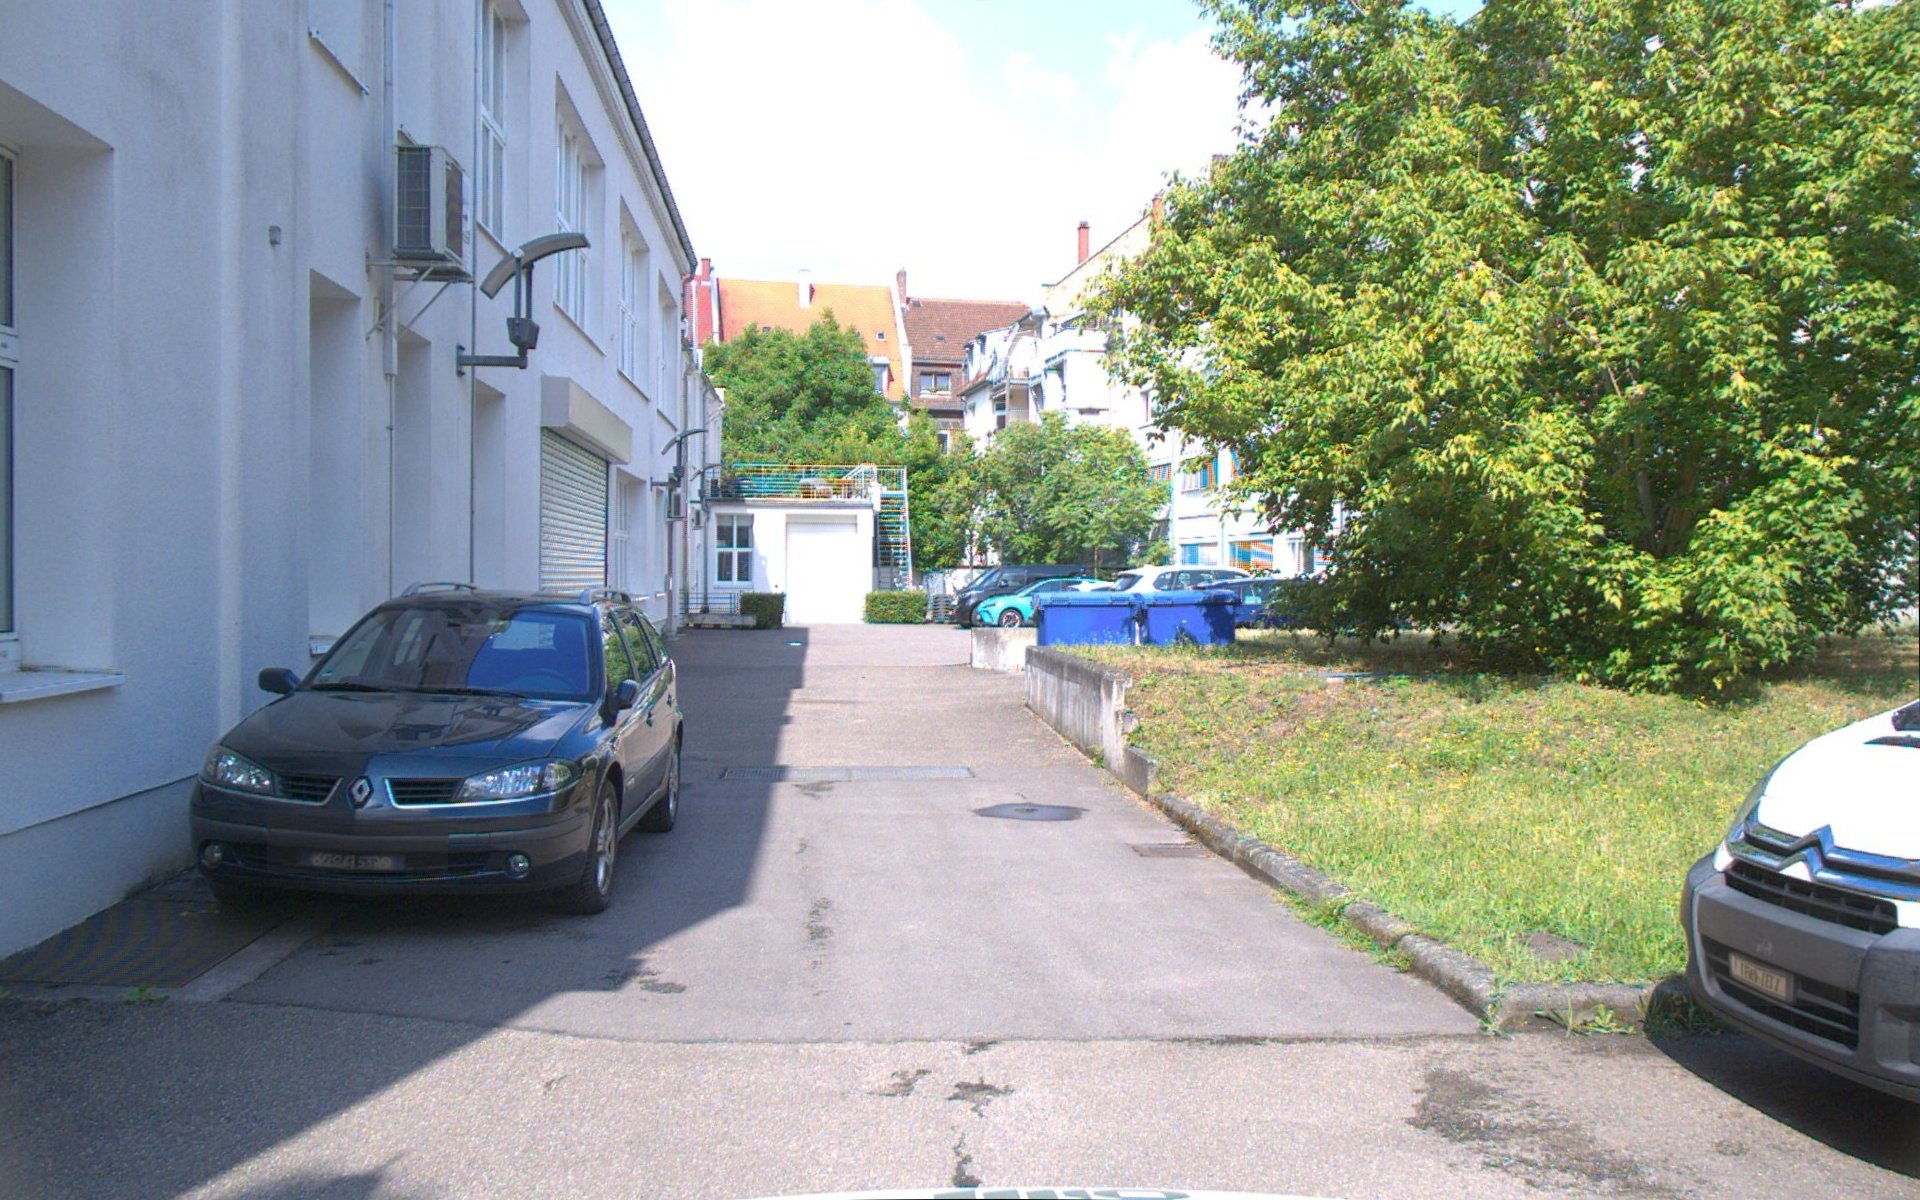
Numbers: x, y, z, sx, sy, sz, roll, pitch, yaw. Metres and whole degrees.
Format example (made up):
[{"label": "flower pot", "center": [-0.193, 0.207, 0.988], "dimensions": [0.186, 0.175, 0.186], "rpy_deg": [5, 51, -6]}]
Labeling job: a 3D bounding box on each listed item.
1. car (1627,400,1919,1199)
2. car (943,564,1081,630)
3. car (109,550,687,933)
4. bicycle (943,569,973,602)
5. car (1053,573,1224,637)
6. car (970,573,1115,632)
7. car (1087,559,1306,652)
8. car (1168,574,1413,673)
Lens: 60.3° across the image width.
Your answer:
[{"label": "car", "center": [4.749, 0.495, 4.823], "dimensions": [4.841, 1.999, 1.998], "rpy_deg": [0, 0, -4]}, {"label": "car", "center": [1.570, -0.075, 50.464], "dimensions": [3.915, 1.849, 1.659], "rpy_deg": [2, -1, -11]}, {"label": "car", "center": [-2.533, 0.661, 8.637], "dimensions": [1.843, 1.467, 4.335], "rpy_deg": [1, -3, -5]}, {"label": "bicycle", "center": [-0.076, -0.526, 59.922], "dimensions": [0.630, 1.137, 1.851], "rpy_deg": [2, -1, -14]}, {"label": "car", "center": [4.376, 0.107, 40.743], "dimensions": [3.916, 1.470, 1.625], "rpy_deg": [-1, 1, -11]}, {"label": "car", "center": [2.364, 0.047, 47.785], "dimensions": [3.915, 1.601, 1.625], "rpy_deg": [-1, 1, -11]}, {"label": "car", "center": [4.671, 0.091, 32.933], "dimensions": [3.915, 1.776, 1.944], "rpy_deg": [0, 0, -11]}, {"label": "car", "center": [6.030, 0.429, 30.323], "dimensions": [4.039, 1.634, 1.750], "rpy_deg": [2, -1, -11]}]
